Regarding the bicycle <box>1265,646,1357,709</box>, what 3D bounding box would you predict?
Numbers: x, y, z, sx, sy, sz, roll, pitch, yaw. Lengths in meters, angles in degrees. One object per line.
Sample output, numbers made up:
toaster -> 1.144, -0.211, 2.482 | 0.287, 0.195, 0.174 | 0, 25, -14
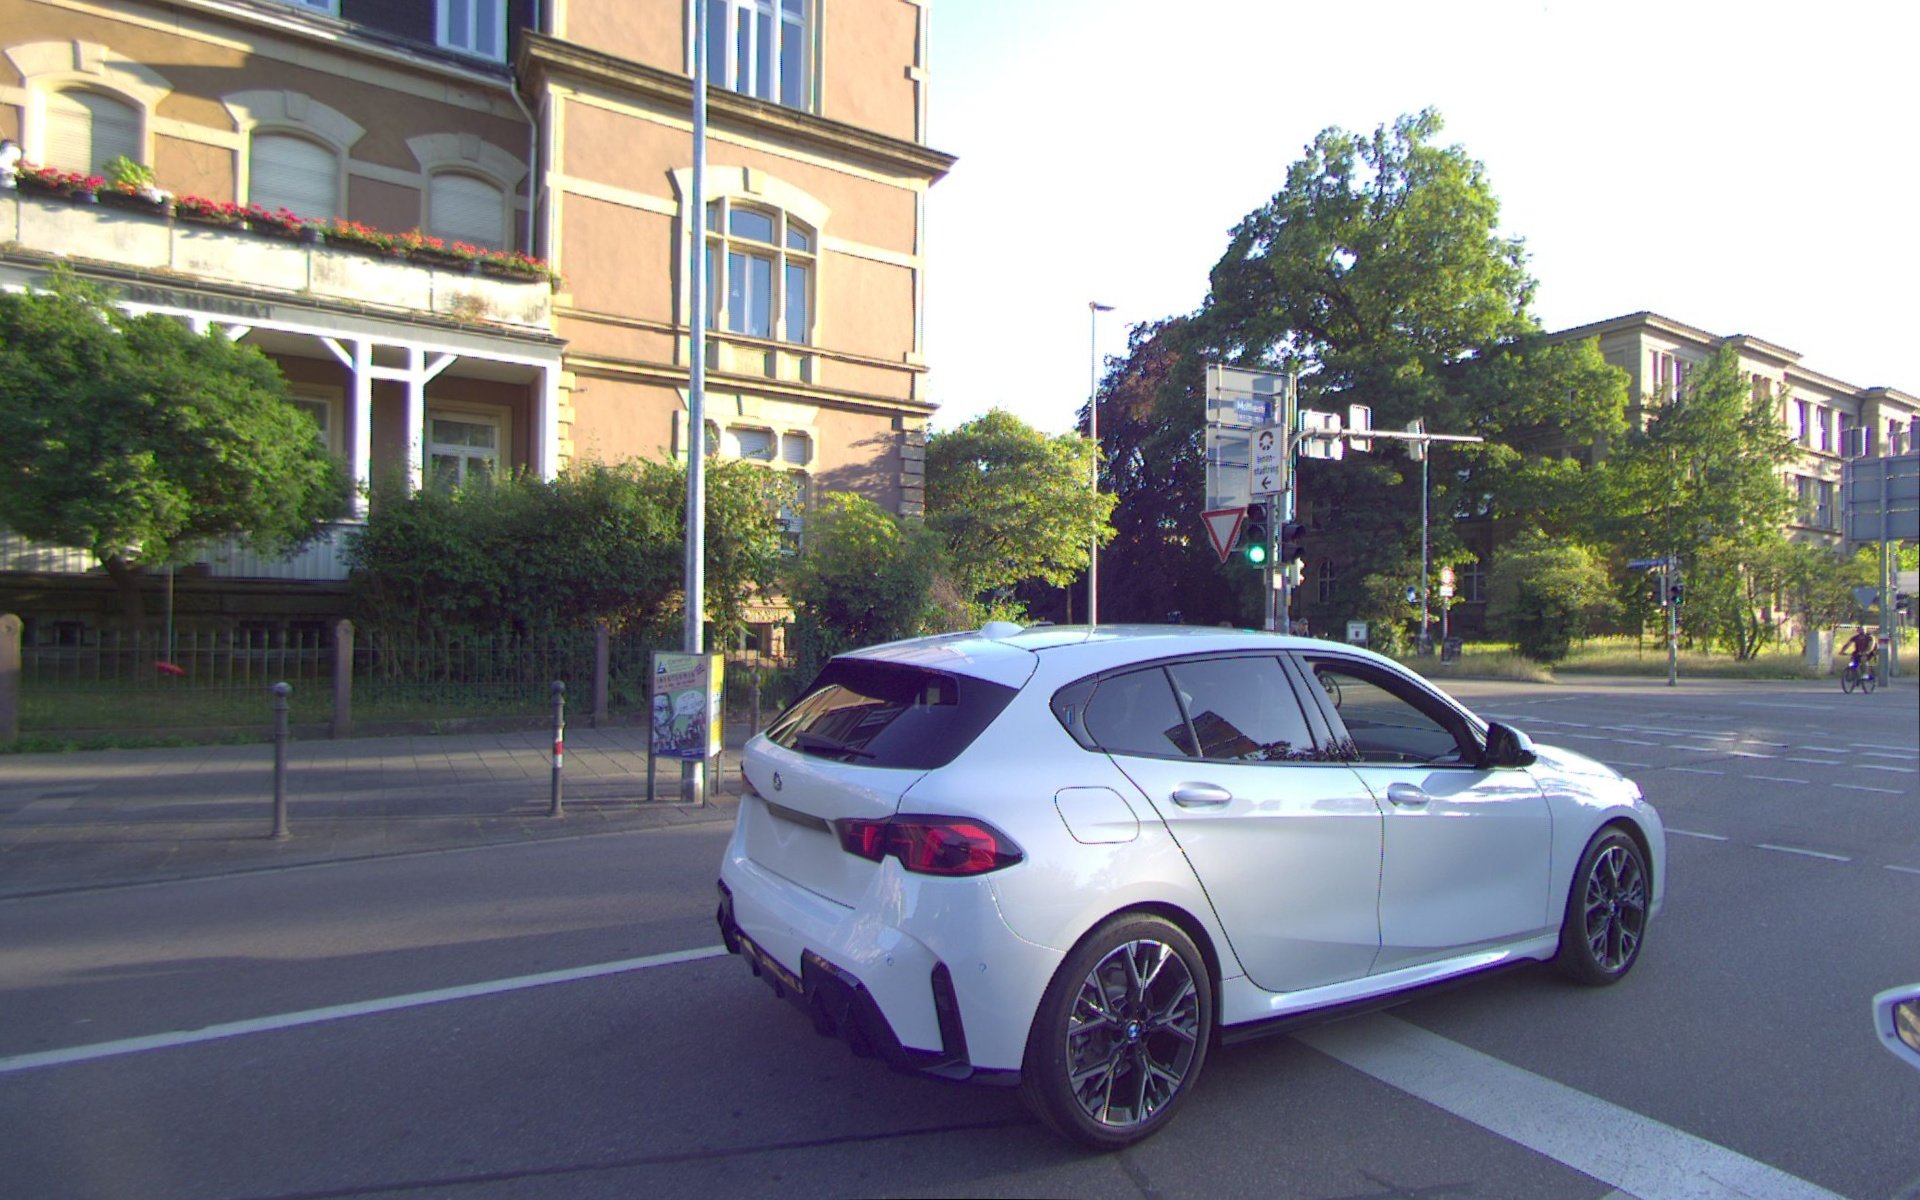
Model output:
bicycle -> 7.115, 1.546, 20.447 | 0.651, 1.104, 1.892 | 2, 0, -23

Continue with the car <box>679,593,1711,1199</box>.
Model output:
car -> 1.150, 0.793, 4.152 | 4.141, 1.485, 1.743 | 2, -2, -32

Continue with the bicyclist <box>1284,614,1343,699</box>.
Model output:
bicyclist -> 7.152, 1.137, 20.366 | 0.644, 1.654, 0.909 | 2, 0, -23

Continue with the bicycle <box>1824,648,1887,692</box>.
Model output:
bicycle -> 24.435, 1.891, 27.396 | 2.143, 1.138, 0.683 | 2, -2, -31

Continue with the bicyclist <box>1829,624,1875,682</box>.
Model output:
bicyclist -> 24.218, 1.433, 27.279 | 0.944, 1.532, 0.680 | 1, -1, -30

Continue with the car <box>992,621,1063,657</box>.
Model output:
car -> 3.634, 2.107, 54.513 | 1.841, 1.870, 4.087 | 2, -2, -31

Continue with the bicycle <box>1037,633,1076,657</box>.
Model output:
bicycle -> 4.979, 2.325, 51.699 | 1.852, 1.171, 0.748 | 2, 0, -26
